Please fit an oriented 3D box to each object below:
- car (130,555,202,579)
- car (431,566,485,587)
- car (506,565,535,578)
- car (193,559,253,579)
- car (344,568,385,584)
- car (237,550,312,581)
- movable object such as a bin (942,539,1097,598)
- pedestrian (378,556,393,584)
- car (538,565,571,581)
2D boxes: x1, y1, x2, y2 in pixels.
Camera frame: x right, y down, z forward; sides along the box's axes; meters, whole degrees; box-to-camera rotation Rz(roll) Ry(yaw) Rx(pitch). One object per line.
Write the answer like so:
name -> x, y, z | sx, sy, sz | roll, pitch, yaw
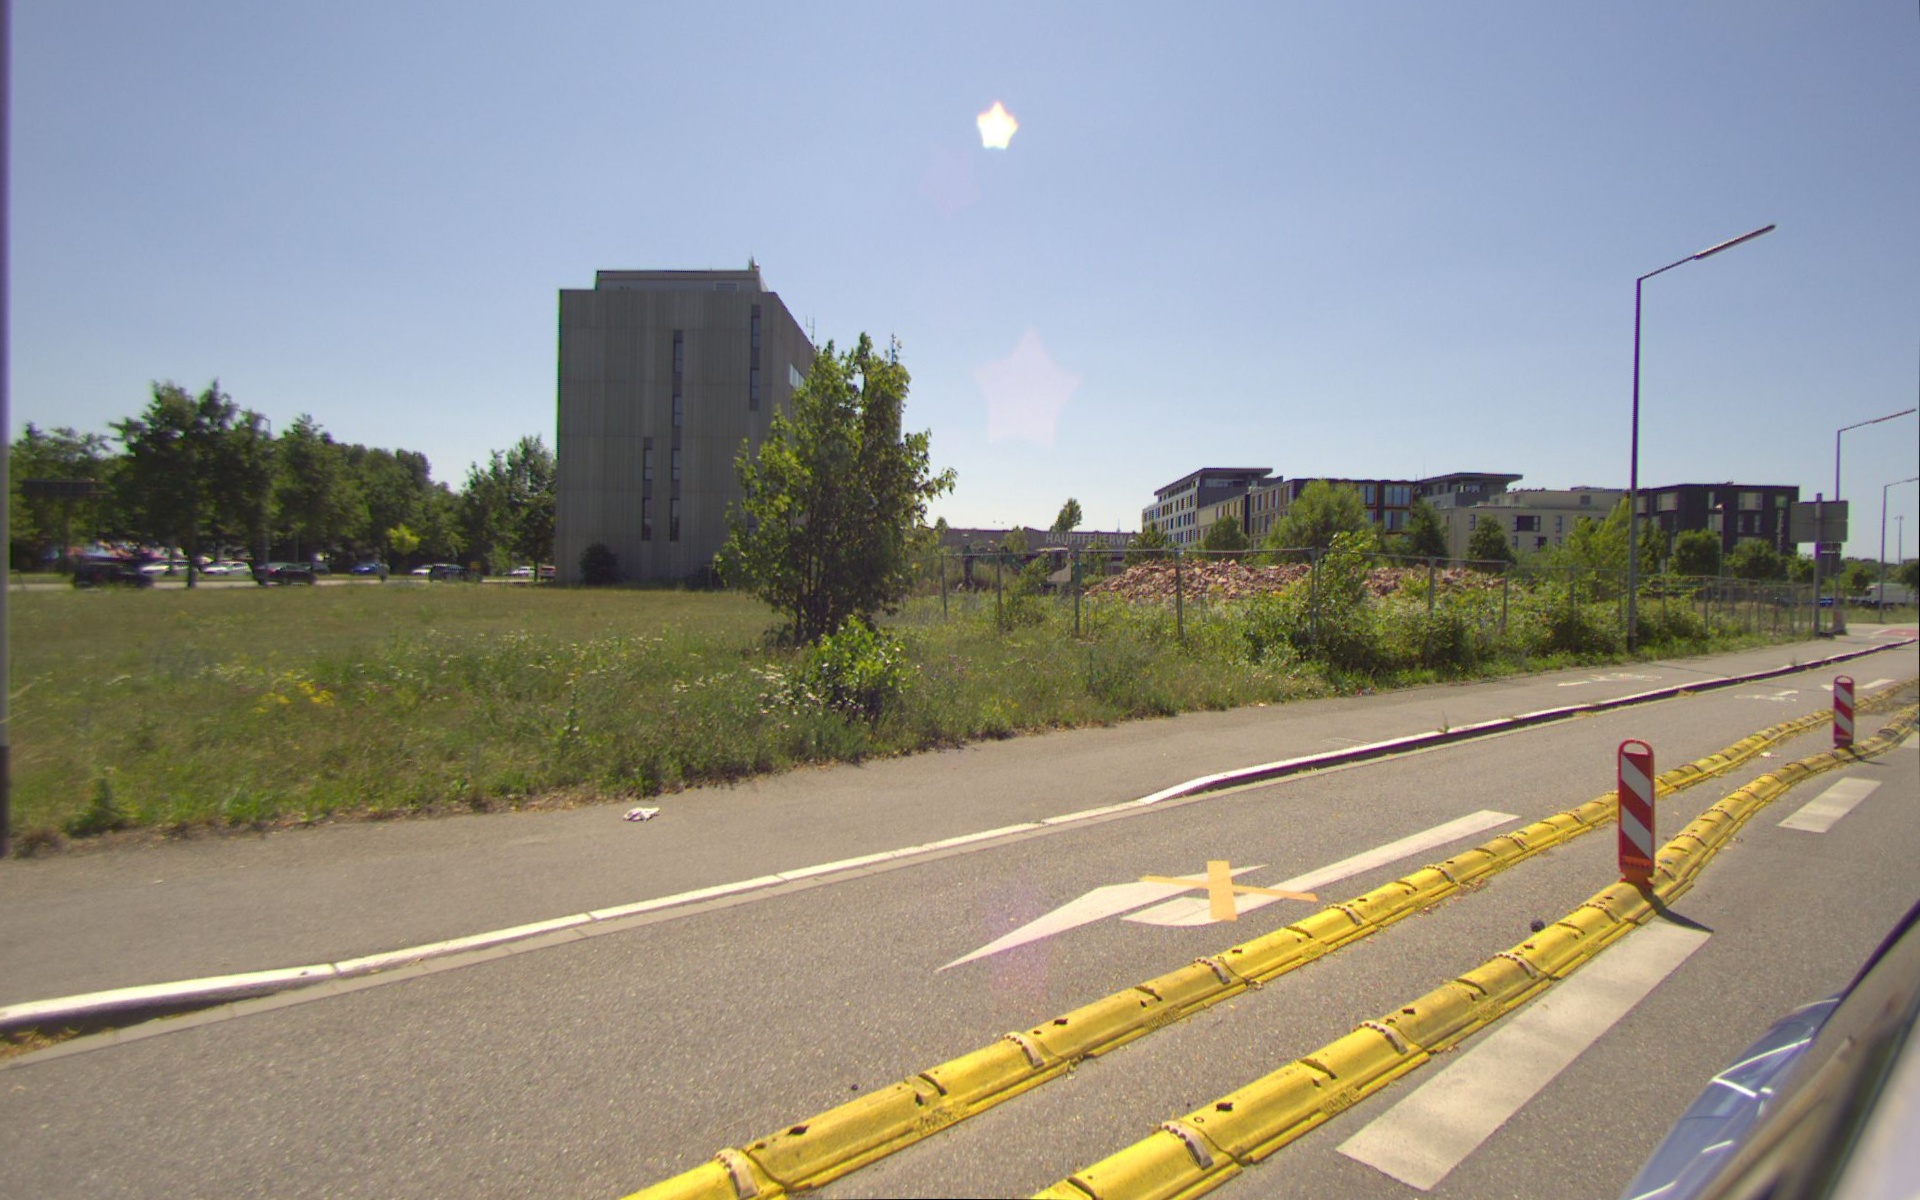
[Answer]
car -> -58.757, -2.428, 74.967 | 1.814, 1.612, 4.443 | 0, 0, 1
car -> -41.972, -1.937, 84.687 | 1.964, 1.757, 4.639 | 0, 0, 4
car -> -57.320, -3.673, 132.158 | 1.814, 1.612, 4.444 | 0, 0, 1
car -> -61.998, -2.591, 85.241 | 1.814, 1.611, 4.444 | 1, 1, 1
car -> -61.500, -2.473, 104.529 | 1.734, 1.557, 3.997 | 0, 0, 3
car -> -45.652, -2.289, 67.505 | 1.961, 1.961, 4.645 | 0, 0, -1
movable object such as a bin -> 3.166, -1.606, 53.321 | 7.537, 2.952, 3.242 | -1, 0, -26
pedestrian -> -33.693, -1.776, 59.356 | 0.652, 1.611, 0.557 | 0, 0, -15
car -> -46.094, -3.047, 115.070 | 1.962, 1.757, 4.645 | 0, 0, -1
